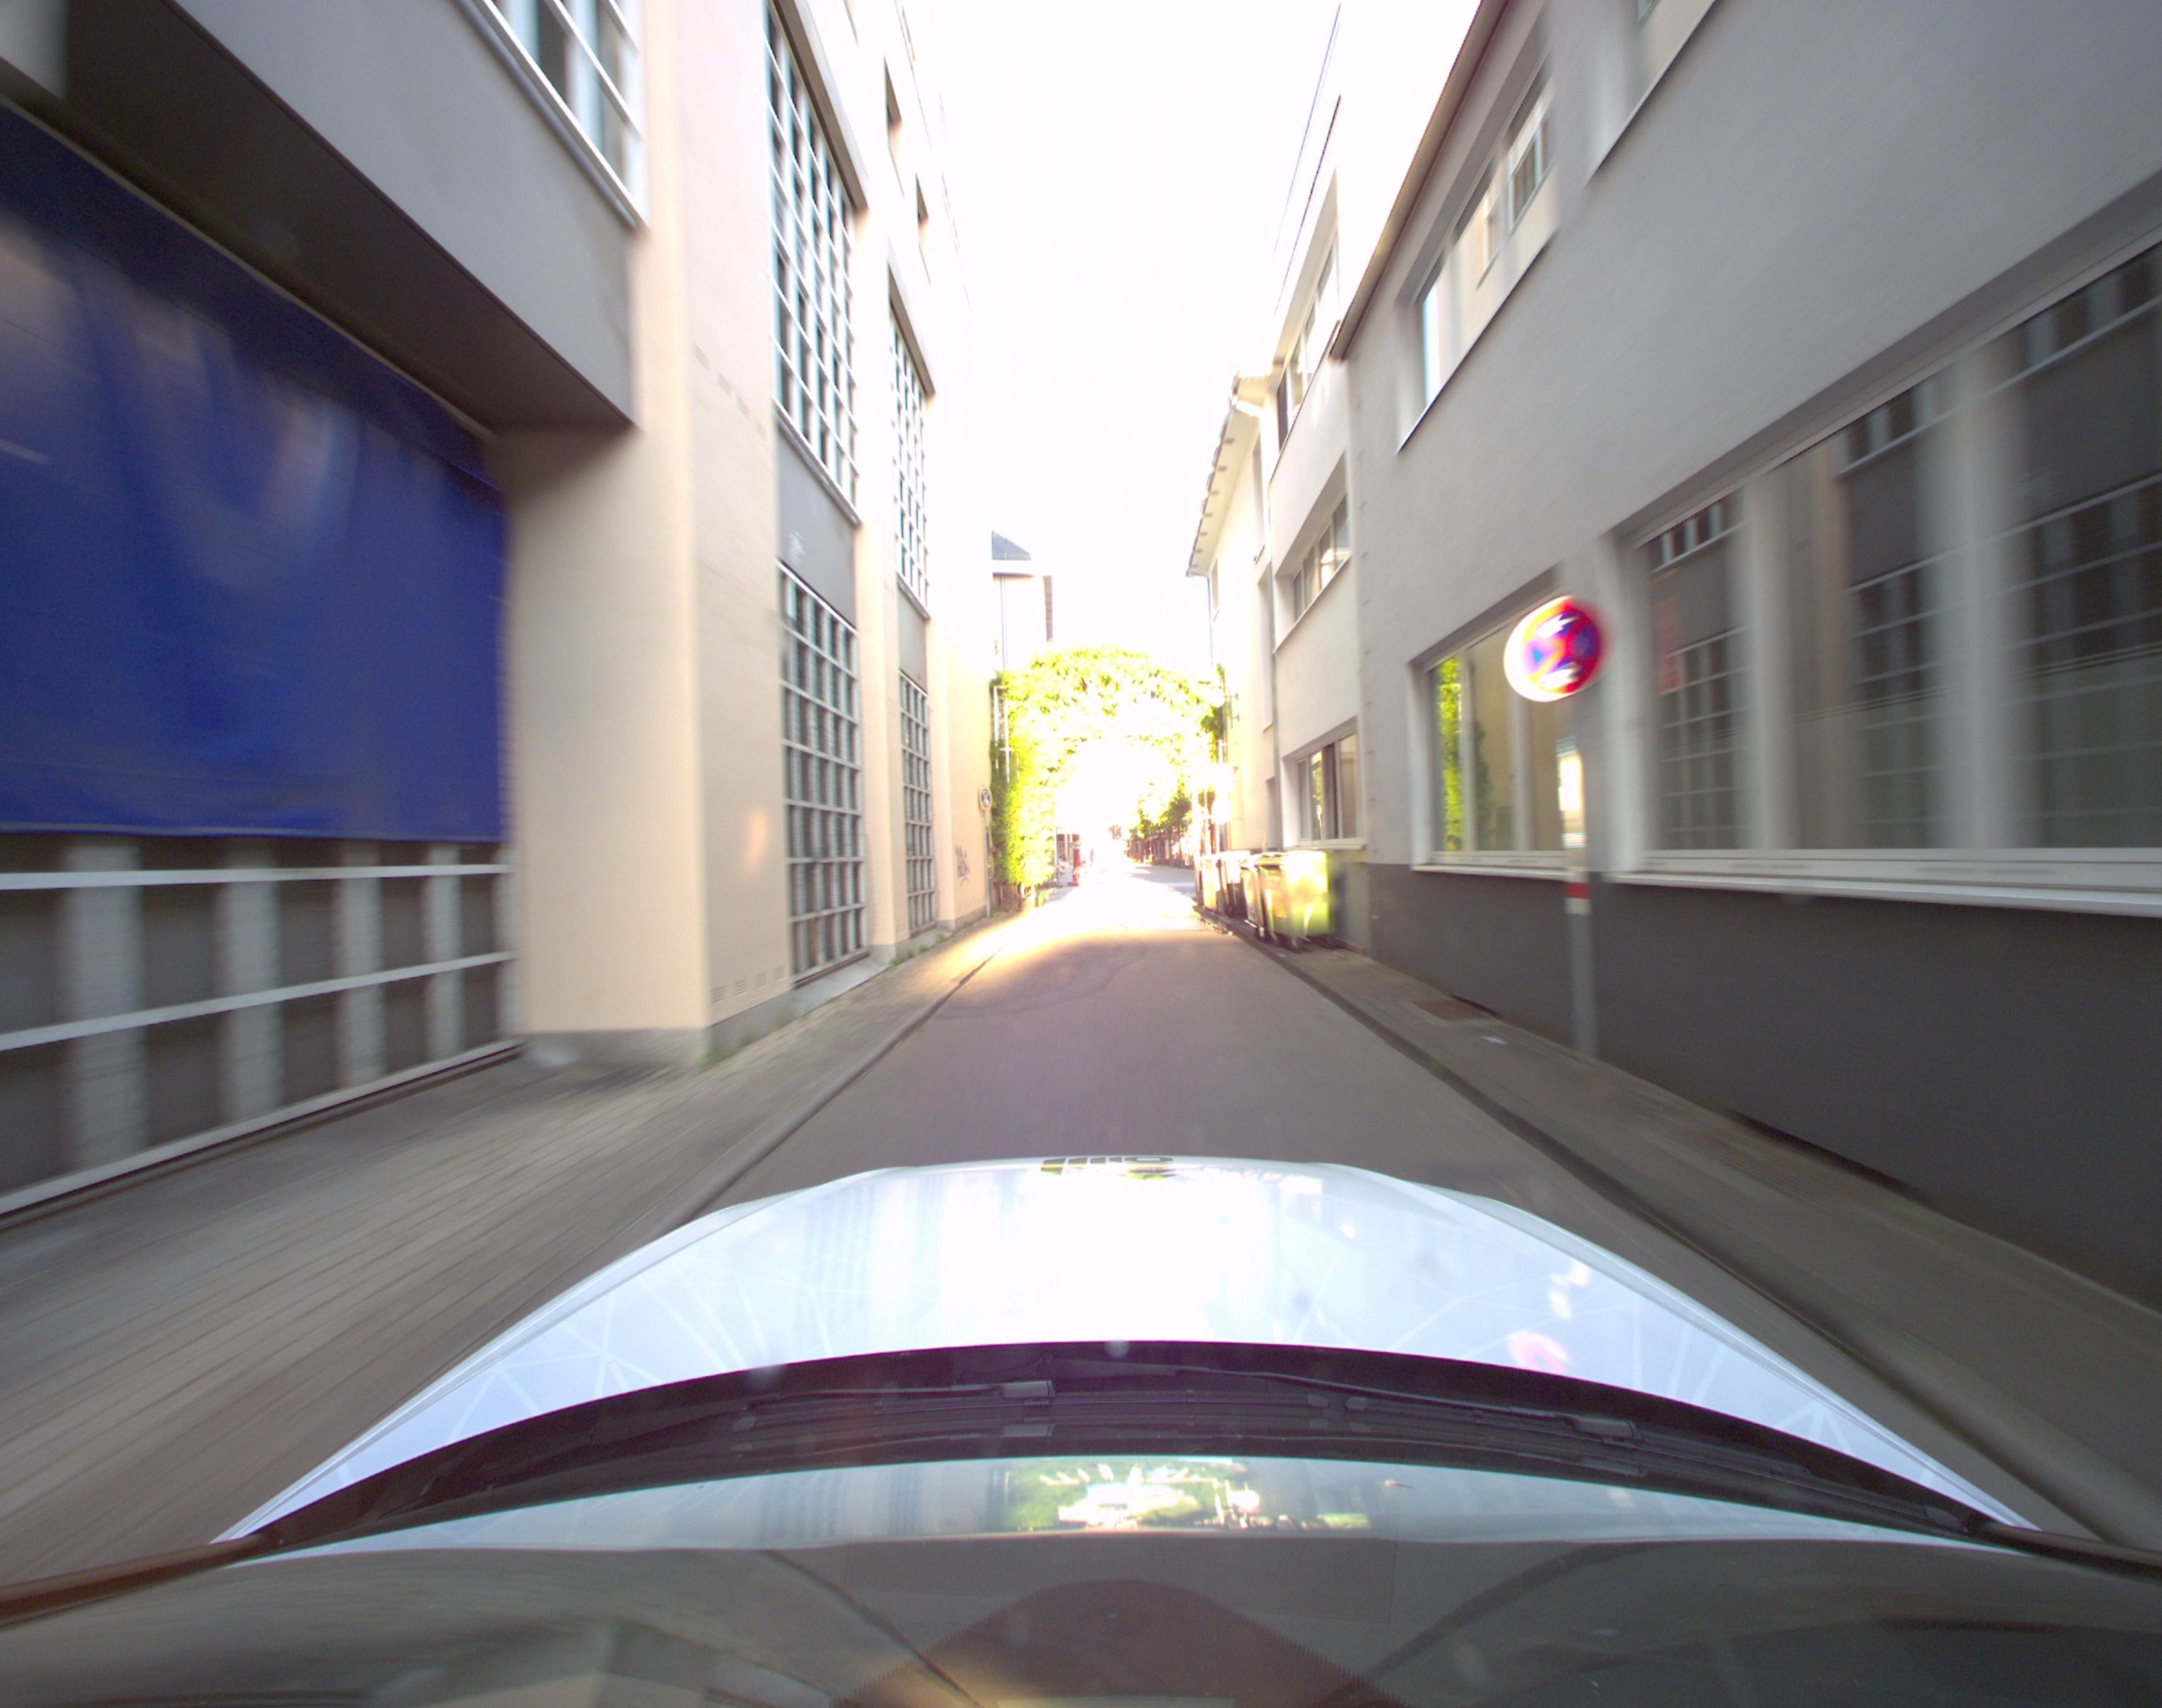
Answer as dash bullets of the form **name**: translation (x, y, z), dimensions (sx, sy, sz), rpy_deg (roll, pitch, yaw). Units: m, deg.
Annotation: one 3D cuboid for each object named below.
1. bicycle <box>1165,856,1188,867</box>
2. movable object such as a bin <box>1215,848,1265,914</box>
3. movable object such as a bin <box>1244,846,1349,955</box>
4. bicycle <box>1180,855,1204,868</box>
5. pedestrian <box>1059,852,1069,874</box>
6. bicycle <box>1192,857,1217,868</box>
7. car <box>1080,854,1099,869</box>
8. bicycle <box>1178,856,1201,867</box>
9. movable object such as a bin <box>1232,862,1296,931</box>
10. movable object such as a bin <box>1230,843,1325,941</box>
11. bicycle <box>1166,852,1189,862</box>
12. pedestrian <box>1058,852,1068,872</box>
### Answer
- **bicycle**: translation (9.384, 0.756, 80.309), dimensions (2.151, 0.926, 0.589), rpy_deg (-3, -1, -7)
- **movable object such as a bin**: translation (3.379, 0.554, 17.386), dimensions (0.832, 1.305, 1.292), rpy_deg (-4, 0, 5)
- **movable object such as a bin**: translation (2.955, 0.610, 11.336), dimensions (0.935, 1.366, 1.340), rpy_deg (-4, 0, -4)
- **bicycle**: translation (10.531, 0.717, 77.031), dimensions (2.137, 1.061, 0.593), rpy_deg (-3, -1, 14)
- **pedestrian**: translation (-1.396, 0.771, 67.903), dimensions (0.651, 1.764, 0.635), rpy_deg (-3, -1, 5)
- **bicycle**: translation (11.374, 0.772, 74.958), dimensions (2.156, 0.926, 0.588), rpy_deg (-3, -1, -15)
- **car**: translation (0.948, 0.869, 93.538), dimensions (1.838, 1.684, 3.639), rpy_deg (-3, -1, -4)
- **bicycle**: translation (10.594, 0.739, 79.543), dimensions (2.151, 0.926, 0.589), rpy_deg (-3, -1, -7)
- **movable object such as a bin**: translation (3.127, 0.707, 13.966), dimensions (0.866, 1.075, 0.738), rpy_deg (-4, 0, 0)
- **movable object such as a bin**: translation (3.031, 0.567, 12.741), dimensions (1.061, 1.366, 1.342), rpy_deg (-4, 0, 0)
- **bicycle**: translation (9.650, 0.276, 81.209), dimensions (2.151, 0.926, 0.589), rpy_deg (-3, -1, -7)
- **pedestrian**: translation (-1.500, 0.699, 68.584), dimensions (0.651, 1.651, 0.635), rpy_deg (-3, -1, 5)
